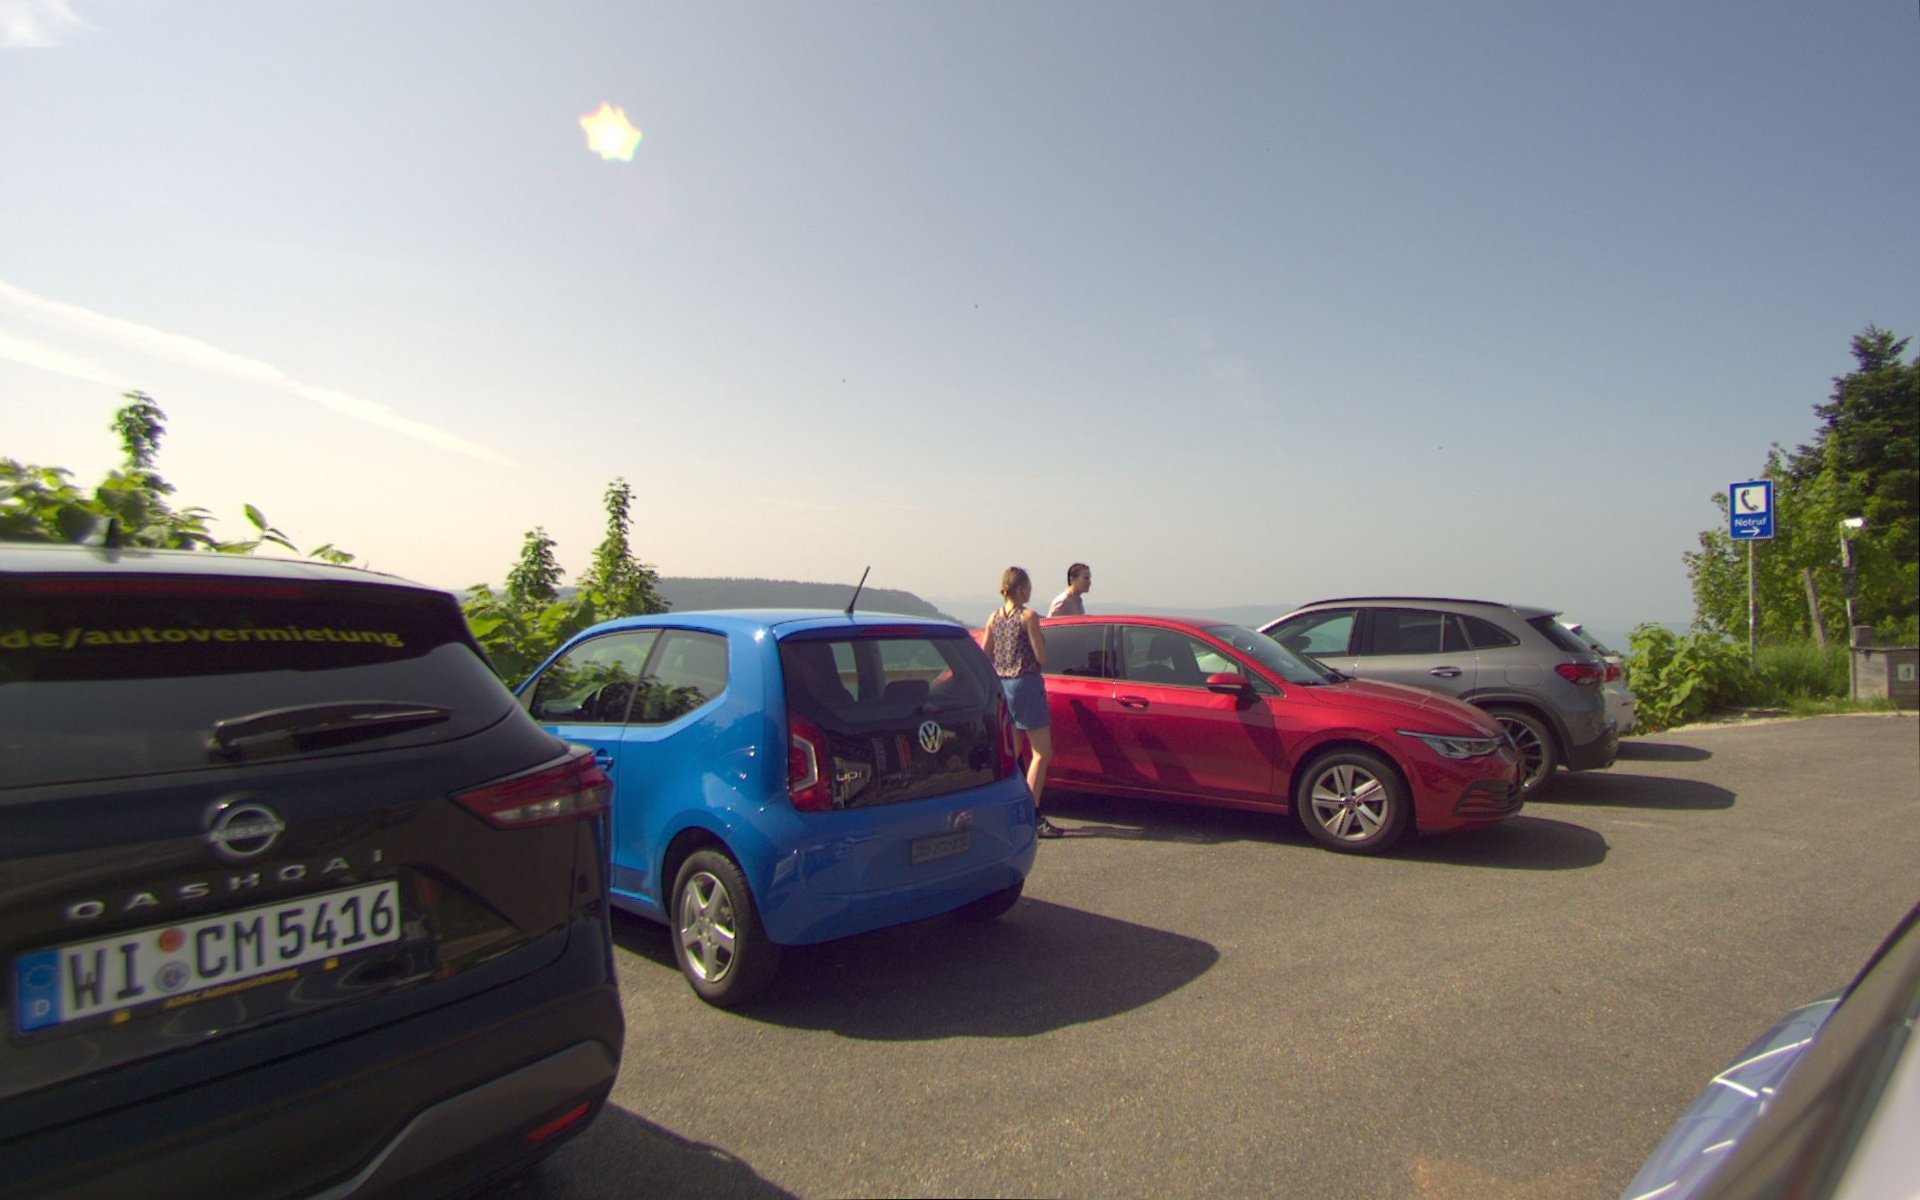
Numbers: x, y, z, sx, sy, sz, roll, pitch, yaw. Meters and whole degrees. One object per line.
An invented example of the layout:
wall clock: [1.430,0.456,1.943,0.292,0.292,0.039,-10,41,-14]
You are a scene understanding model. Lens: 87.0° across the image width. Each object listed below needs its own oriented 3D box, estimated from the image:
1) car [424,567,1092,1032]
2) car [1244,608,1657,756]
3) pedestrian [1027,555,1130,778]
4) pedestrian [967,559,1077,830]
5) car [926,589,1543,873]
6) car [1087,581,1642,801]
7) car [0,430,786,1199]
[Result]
car: [-1.262,0.712,5.169,3.580,1.515,1.621,-3,-2,45]
car: [5.453,0.841,11.496,3.971,1.403,1.637,-2,-1,34]
pedestrian: [1.076,0.578,9.190,0.608,1.924,0.669,-3,-2,42]
pedestrian: [0.428,0.615,6.921,0.501,1.747,0.561,-2,-1,31]
car: [1.879,0.715,7.344,3.972,1.529,1.820,0,-1,34]
car: [3.561,0.713,9.304,4.378,1.588,1.885,-2,-1,33]
car: [-2.528,0.633,2.779,3.978,1.634,1.890,-1,-1,39]
